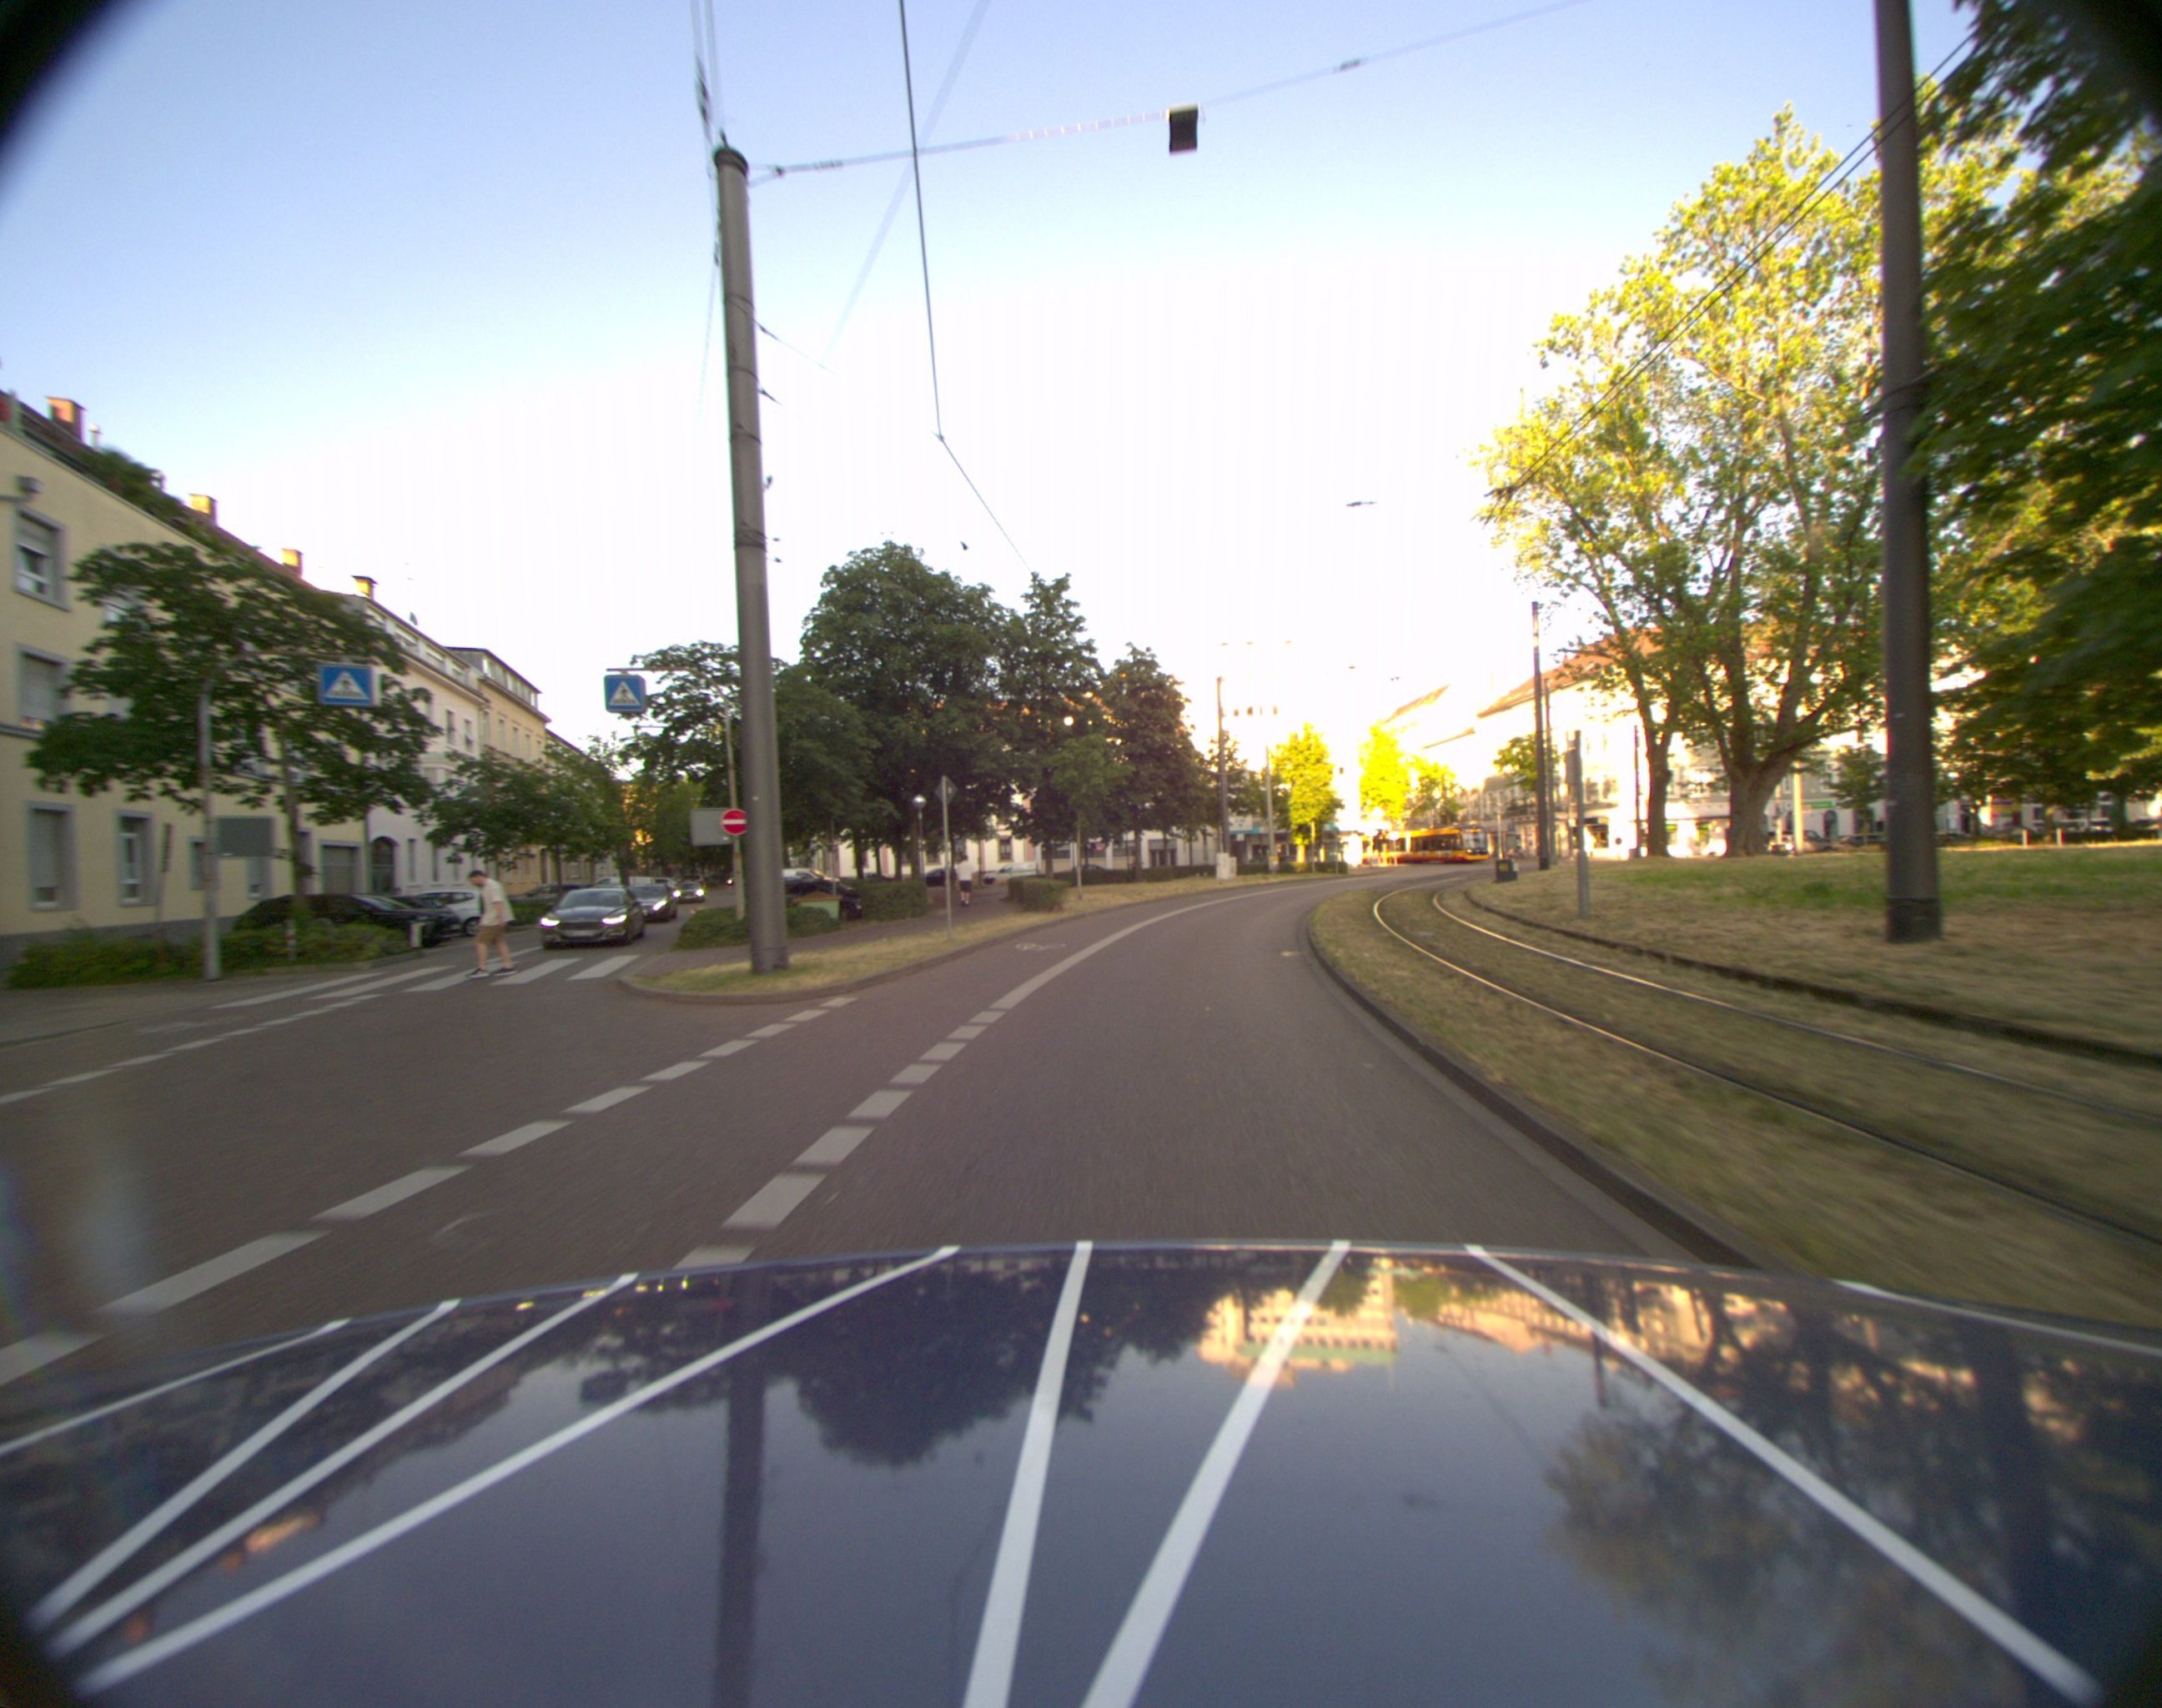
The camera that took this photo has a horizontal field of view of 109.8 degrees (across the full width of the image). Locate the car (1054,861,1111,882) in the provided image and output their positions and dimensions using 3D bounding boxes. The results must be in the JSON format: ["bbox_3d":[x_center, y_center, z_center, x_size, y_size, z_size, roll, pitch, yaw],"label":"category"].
[{"bbox_3d":[0.115,1.313,58.701,4.320,1.402,1.805,-2,1,-2],"label":"car"}]

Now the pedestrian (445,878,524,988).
[{"bbox_3d":[-10.126,1.315,12.919,0.591,1.781,0.822,-2,-1,10],"label":"pedestrian"}]

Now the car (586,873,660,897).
[{"bbox_3d":[-33.496,2.264,55.752,4.404,1.603,1.726,-2,-1,-23],"label":"car"}]

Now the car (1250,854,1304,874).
[{"bbox_3d":[16.408,0.864,63.788,3.998,1.441,1.848,-3,-1,-2],"label":"car"}]

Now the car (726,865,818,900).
[{"bbox_3d":[-19.968,1.841,49.205,5.078,2.010,1.968,-2,-1,1],"label":"car"}]

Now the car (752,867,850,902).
[{"bbox_3d":[-16.830,1.802,45.834,5.078,1.891,2.122,-2,-1,1],"label":"car"}]

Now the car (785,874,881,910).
[{"bbox_3d":[-11.949,1.797,36.914,4.067,1.542,1.999,-2,-1,-7],"label":"car"}]

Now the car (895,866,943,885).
[{"bbox_3d":[-13.598,1.831,63.865,3.674,1.440,1.702,-2,-1,0],"label":"car"}]

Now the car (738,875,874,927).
[{"bbox_3d":[-9.416,1.582,26.313,4.067,1.547,1.865,-2,-1,-7],"label":"car"}]

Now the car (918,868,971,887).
[{"bbox_3d":[-10.527,1.815,58.761,3.781,1.328,1.728,-2,-1,-2],"label":"car"}]

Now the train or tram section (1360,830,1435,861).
[{"bbox_3d":[35.124,-0.883,85.145,2.930,3.123,12.855,-3,0,0],"label":"train or tram section"}]

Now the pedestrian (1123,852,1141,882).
[{"bbox_3d":[2.795,0.697,41.551,0.652,1.615,0.612,-1,-1,-43],"label":"pedestrian"}]

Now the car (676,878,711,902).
[{"bbox_3d":[-25.617,2.347,50.324,1.823,1.473,4.128,-2,-1,-25],"label":"car"}]

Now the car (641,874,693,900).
[{"bbox_3d":[-39.586,3.143,72.732,4.072,2.280,1.997,-2,-1,-23],"label":"car"}]

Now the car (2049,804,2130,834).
[{"bbox_3d":[77.798,-2.695,58.638,3.998,1.988,1.858,-5,2,-4],"label":"car"}]

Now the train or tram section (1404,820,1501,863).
[{"bbox_3d":[34.842,-1.147,72.120,2.948,3.563,13.367,-3,0,2],"label":"train or tram section"}]

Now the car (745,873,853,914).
[{"bbox_3d":[-12.503,1.740,33.917,4.067,1.608,1.999,-2,-1,-7],"label":"car"}]

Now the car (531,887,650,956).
[{"bbox_3d":[-12.579,1.648,19.754,1.823,1.473,4.129,-2,-1,-22],"label":"car"}]

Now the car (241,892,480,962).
[{"bbox_3d":[-19.718,1.948,21.067,4.403,1.548,1.835,-2,-1,-21],"label":"car"}]

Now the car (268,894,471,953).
[{"bbox_3d":[-21.381,2.046,23.051,4.072,1.476,1.835,-2,-1,-21],"label":"car"}]

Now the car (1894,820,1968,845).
[{"bbox_3d":[70.327,-1.760,62.928,3.998,1.892,2.000,-2,-1,-4],"label":"car"}]

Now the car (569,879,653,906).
[{"bbox_3d":[-30.196,2.439,48.942,4.067,1.542,1.999,-2,-1,-7],"label":"car"}]

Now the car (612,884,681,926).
[{"bbox_3d":[-17.282,1.962,30.389,1.823,1.473,4.129,-2,-1,-22],"label":"car"}]

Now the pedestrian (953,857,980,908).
[{"bbox_3d":[-3.965,0.979,26.390,0.769,1.705,0.785,-2,-1,-2],"label":"pedestrian"}]

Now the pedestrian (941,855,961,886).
[{"bbox_3d":[-8.666,1.099,50.604,0.828,2.001,1.011,-3,-1,29],"label":"pedestrian"}]

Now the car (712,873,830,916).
[{"bbox_3d":[-12.716,1.637,31.361,4.067,1.542,1.999,-2,-1,-7],"label":"car"}]

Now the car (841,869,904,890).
[{"bbox_3d":[-16.035,1.959,58.634,4.393,1.410,1.728,-2,-1,-2],"label":"car"}]

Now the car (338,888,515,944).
[{"bbox_3d":[-21.778,2.031,25.495,4.072,1.560,1.835,-2,-1,-20],"label":"car"}]

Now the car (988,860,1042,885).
[{"bbox_3d":[-5.114,1.428,58.840,4.011,1.714,1.701,-2,-1,-2],"label":"car"}]

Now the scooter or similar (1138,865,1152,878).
[{"bbox_3d":[5.650,1.540,67.041,1.179,1.026,0.489,-2,-1,19],"label":"scooter or similar"}]

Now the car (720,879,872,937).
[{"bbox_3d":[-8.775,1.635,23.729,4.067,1.547,1.865,-2,-1,-7],"label":"car"}]

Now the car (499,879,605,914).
[{"bbox_3d":[-26.724,2.118,38.557,4.072,1.542,1.997,-2,-1,-23],"label":"car"}]
